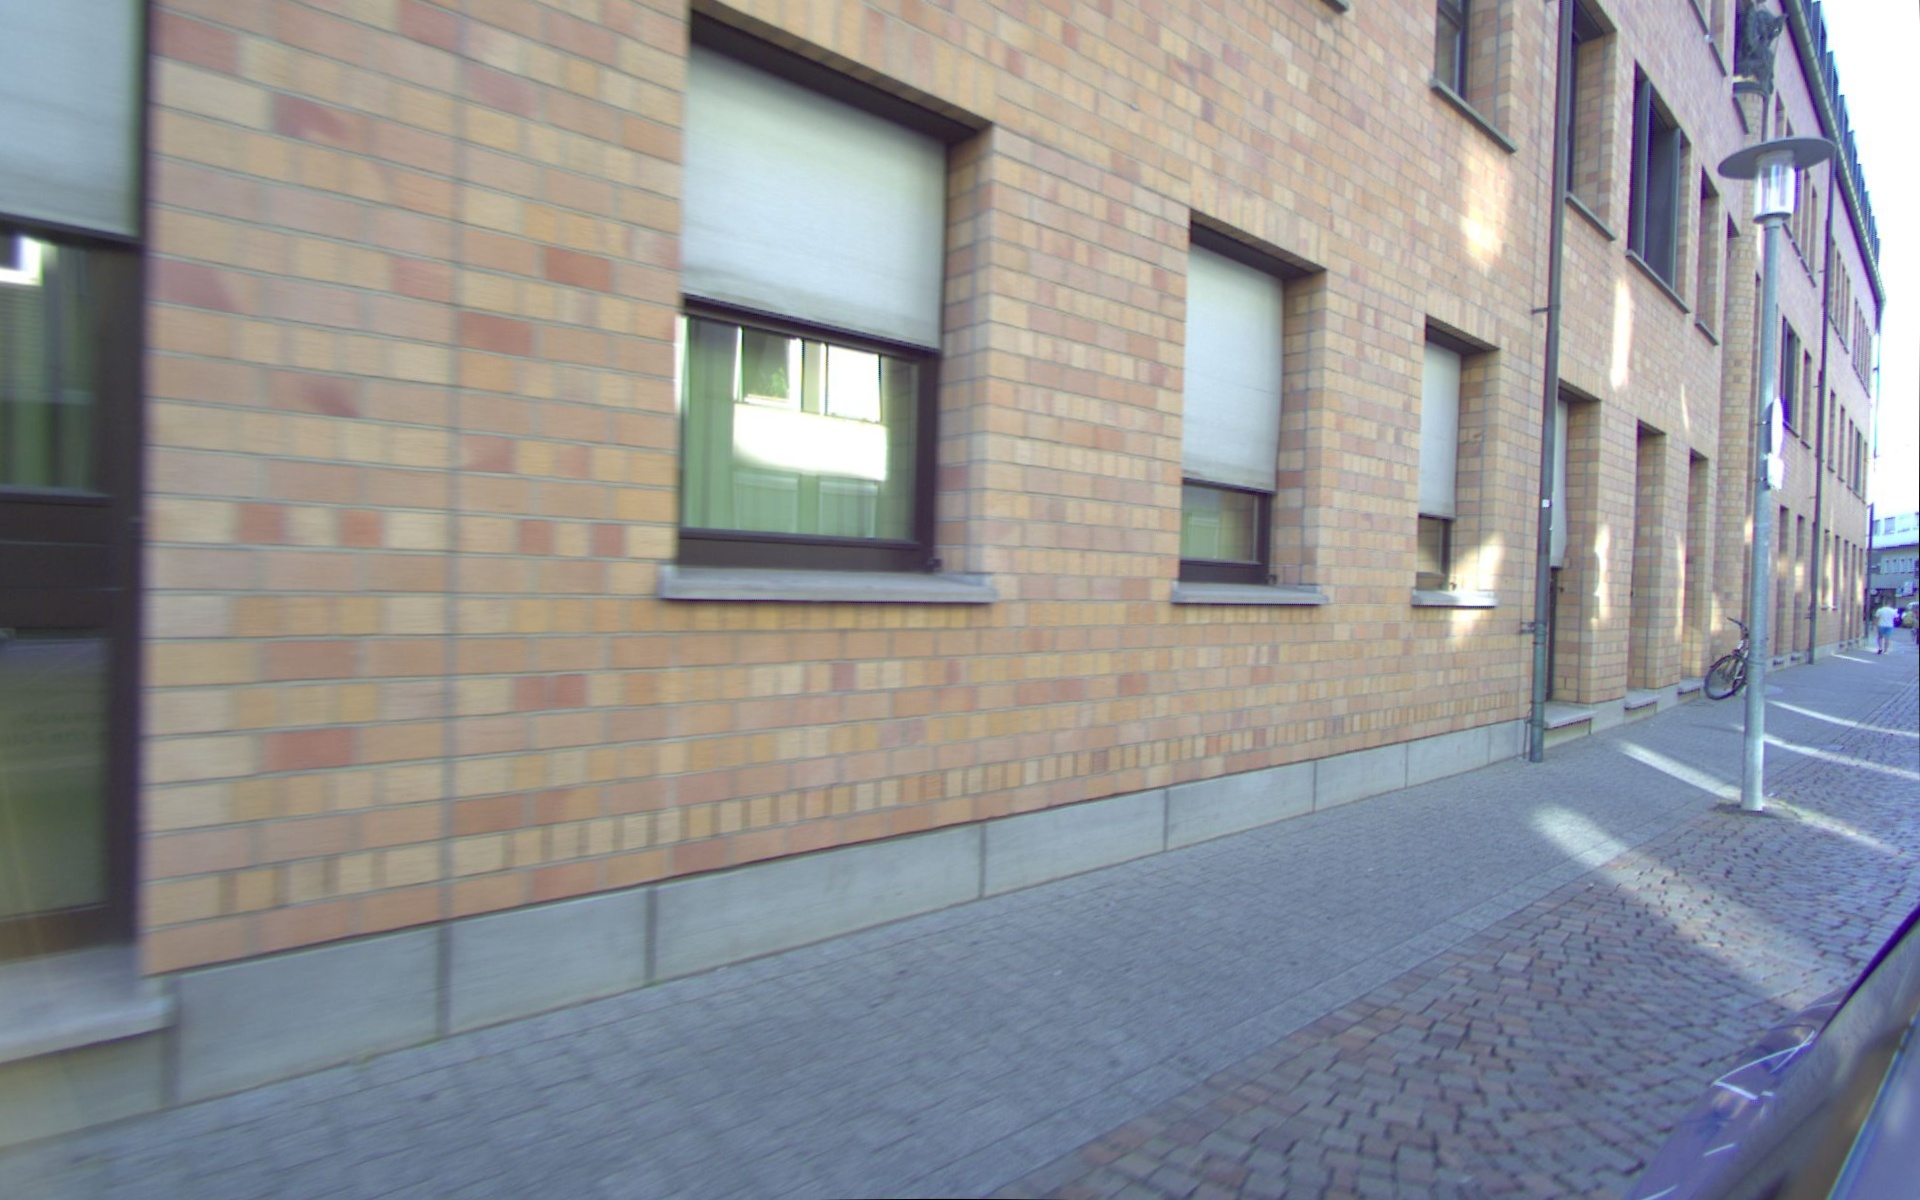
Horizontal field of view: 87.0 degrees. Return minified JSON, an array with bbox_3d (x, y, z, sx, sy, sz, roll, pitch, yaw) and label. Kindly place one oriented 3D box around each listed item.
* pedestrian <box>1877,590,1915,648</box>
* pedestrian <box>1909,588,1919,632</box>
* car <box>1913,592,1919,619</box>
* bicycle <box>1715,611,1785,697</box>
[{"bbox_3d":[29.547,0.586,31.944,0.808,1.737,0.761,1,3,-44],"label":"pedestrian"},{"bbox_3d":[45.052,0.494,47.376,0.711,2.038,0.690,2,1,34],"label":"pedestrian"},{"bbox_3d":[68.428,0.430,70.629,1.876,1.896,3.955,4,3,32],"label":"car"},{"bbox_3d":[11.635,0.758,14.877,0.550,1.116,1.951,7,4,43],"label":"bicycle"}]
